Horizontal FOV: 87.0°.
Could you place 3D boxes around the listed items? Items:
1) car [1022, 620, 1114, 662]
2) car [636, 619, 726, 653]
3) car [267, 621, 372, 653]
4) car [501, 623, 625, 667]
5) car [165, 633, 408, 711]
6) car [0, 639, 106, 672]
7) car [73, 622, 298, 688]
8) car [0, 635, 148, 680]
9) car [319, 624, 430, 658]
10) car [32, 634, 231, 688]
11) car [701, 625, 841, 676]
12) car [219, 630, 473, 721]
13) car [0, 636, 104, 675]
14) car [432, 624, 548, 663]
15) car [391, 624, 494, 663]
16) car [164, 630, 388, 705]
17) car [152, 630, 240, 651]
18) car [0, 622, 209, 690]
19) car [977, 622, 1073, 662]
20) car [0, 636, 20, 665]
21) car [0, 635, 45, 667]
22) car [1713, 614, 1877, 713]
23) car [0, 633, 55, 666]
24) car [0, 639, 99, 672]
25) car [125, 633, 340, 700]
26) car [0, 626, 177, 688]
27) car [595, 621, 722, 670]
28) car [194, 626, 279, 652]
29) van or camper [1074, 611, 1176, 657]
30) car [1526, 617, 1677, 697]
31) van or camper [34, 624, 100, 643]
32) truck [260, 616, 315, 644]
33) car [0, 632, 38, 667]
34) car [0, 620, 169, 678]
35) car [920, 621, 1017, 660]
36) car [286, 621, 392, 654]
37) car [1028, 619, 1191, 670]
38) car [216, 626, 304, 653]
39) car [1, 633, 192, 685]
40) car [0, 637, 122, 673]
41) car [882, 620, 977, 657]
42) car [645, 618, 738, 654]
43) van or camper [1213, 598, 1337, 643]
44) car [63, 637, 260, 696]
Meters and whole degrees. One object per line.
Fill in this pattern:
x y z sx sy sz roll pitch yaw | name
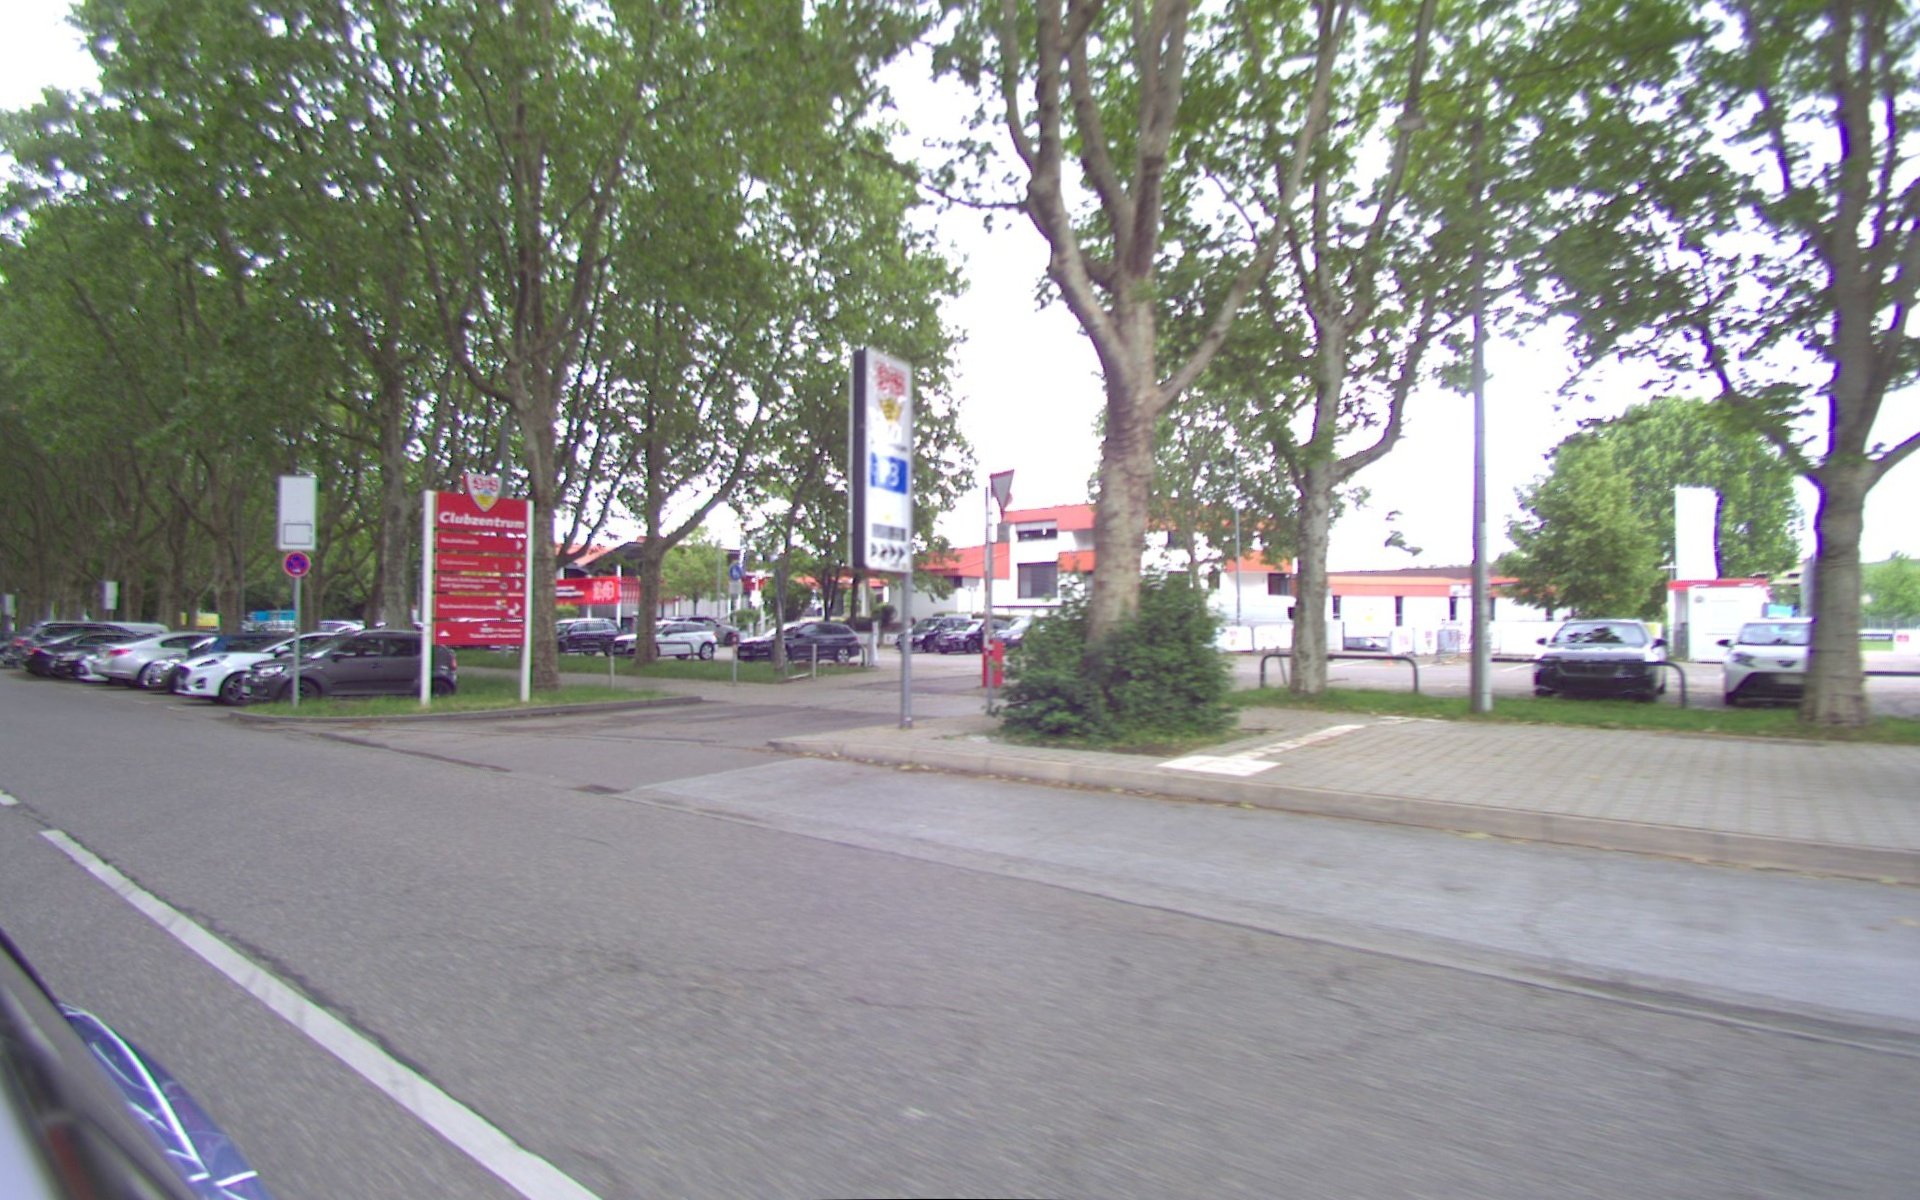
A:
4.402 1.620 40.834 1.787 1.560 4.177 -1 -1 38 | car
-16.171 2.052 58.860 2.297 1.869 4.527 -1 -1 44 | car
-38.569 2.216 61.069 2.179 1.810 4.896 -1 -1 37 | car
-17.225 1.902 44.073 2.294 1.775 4.474 -1 -1 38 | car
-14.085 1.436 21.315 1.912 1.395 3.950 -1 -1 43 | car
-38.771 2.328 42.311 1.900 1.358 4.416 -2 -4 41 | car
-19.963 1.458 26.236 1.905 1.560 4.223 -1 -5 37 | car
-31.559 2.055 35.999 1.757 1.483 3.757 -1 -4 29 | car
-32.481 2.262 56.265 2.179 1.810 4.895 -2 -2 37 | car
-23.955 1.721 29.397 1.964 1.364 4.150 -1 -1 37 | car
-6.305 1.642 34.088 2.201 1.560 4.279 -1 -1 38 | car
-12.027 1.403 20.026 1.804 1.552 3.952 -1 -1 41 | car
-35.621 2.130 38.860 1.755 1.432 3.935 -2 -5 42 | car
-22.511 2.053 48.581 2.294 1.739 4.507 -1 -1 38 | car
-26.516 2.175 51.987 2.026 1.875 4.279 -1 -1 38 | car
-15.680 1.475 23.361 1.830 1.505 3.954 -1 -1 39 | car
-60.693 3.193 80.473 2.092 1.608 5.297 -1 -1 38 | car
-24.610 1.632 29.246 1.866 1.824 4.274 -2 -4 39 | car
2.787 1.708 42.502 1.957 1.560 4.279 -1 -1 38 | car
-50.822 2.559 51.718 1.727 1.528 3.890 -2 -4 41 | car
-43.268 2.239 44.764 1.701 1.409 3.893 -2 -4 38 | car
14.635 1.016 17.804 2.000 1.534 3.947 -1 -1 40 | car
-45.002 2.287 46.788 1.701 1.493 4.420 -2 -4 38 | car
-40.610 2.435 44.088 1.857 1.377 4.420 -2 -5 38 | car
-17.665 1.546 24.715 1.860 1.416 3.947 -1 -1 39 | car
-27.877 1.749 32.281 2.035 1.809 4.274 -1 -1 39 | car
-11.582 1.706 39.128 2.129 1.722 4.279 -1 -1 38 | car
-51.799 2.779 72.492 1.997 1.734 4.510 -1 -4 37 | car
6.500 1.285 39.610 2.129 1.722 4.279 -1 -1 38 | van or camper
12.217 0.994 19.160 1.999 1.334 3.948 -1 -1 39 | car
-99.478 3.703 112.769 2.241 2.115 5.236 -1 -1 37 | van or camper
-66.399 2.923 99.962 2.374 2.737 3.949 -1 -1 38 | truck
-48.763 2.450 50.424 1.749 1.721 3.893 -2 -4 38 | car
-29.634 1.672 34.108 1.864 1.824 4.279 -2 -4 36 | car
0.421 1.703 43.603 1.957 1.560 4.279 -1 -1 38 | car
-36.552 2.183 59.695 2.179 1.810 4.896 -1 -1 37 | car
4.685 1.393 32.330 4.910 1.564 2.099 0 -1 1 | car
-47.716 2.697 69.046 1.997 1.734 4.510 -1 -4 37 | car
-26.062 1.817 30.644 2.012 1.463 4.085 -2 -5 41 | car
-37.023 2.226 40.990 1.878 1.380 4.419 -2 -4 39 | car
-1.316 1.666 45.147 1.957 1.560 4.279 -1 -1 38 | car
-14.926 1.979 56.437 2.297 1.869 4.527 -1 -1 44 | car
14.937 0.963 48.187 5.297 2.029 1.974 -1 -1 39 | van or camper
-21.951 1.760 27.934 1.883 1.415 3.948 -1 -1 38 | car
